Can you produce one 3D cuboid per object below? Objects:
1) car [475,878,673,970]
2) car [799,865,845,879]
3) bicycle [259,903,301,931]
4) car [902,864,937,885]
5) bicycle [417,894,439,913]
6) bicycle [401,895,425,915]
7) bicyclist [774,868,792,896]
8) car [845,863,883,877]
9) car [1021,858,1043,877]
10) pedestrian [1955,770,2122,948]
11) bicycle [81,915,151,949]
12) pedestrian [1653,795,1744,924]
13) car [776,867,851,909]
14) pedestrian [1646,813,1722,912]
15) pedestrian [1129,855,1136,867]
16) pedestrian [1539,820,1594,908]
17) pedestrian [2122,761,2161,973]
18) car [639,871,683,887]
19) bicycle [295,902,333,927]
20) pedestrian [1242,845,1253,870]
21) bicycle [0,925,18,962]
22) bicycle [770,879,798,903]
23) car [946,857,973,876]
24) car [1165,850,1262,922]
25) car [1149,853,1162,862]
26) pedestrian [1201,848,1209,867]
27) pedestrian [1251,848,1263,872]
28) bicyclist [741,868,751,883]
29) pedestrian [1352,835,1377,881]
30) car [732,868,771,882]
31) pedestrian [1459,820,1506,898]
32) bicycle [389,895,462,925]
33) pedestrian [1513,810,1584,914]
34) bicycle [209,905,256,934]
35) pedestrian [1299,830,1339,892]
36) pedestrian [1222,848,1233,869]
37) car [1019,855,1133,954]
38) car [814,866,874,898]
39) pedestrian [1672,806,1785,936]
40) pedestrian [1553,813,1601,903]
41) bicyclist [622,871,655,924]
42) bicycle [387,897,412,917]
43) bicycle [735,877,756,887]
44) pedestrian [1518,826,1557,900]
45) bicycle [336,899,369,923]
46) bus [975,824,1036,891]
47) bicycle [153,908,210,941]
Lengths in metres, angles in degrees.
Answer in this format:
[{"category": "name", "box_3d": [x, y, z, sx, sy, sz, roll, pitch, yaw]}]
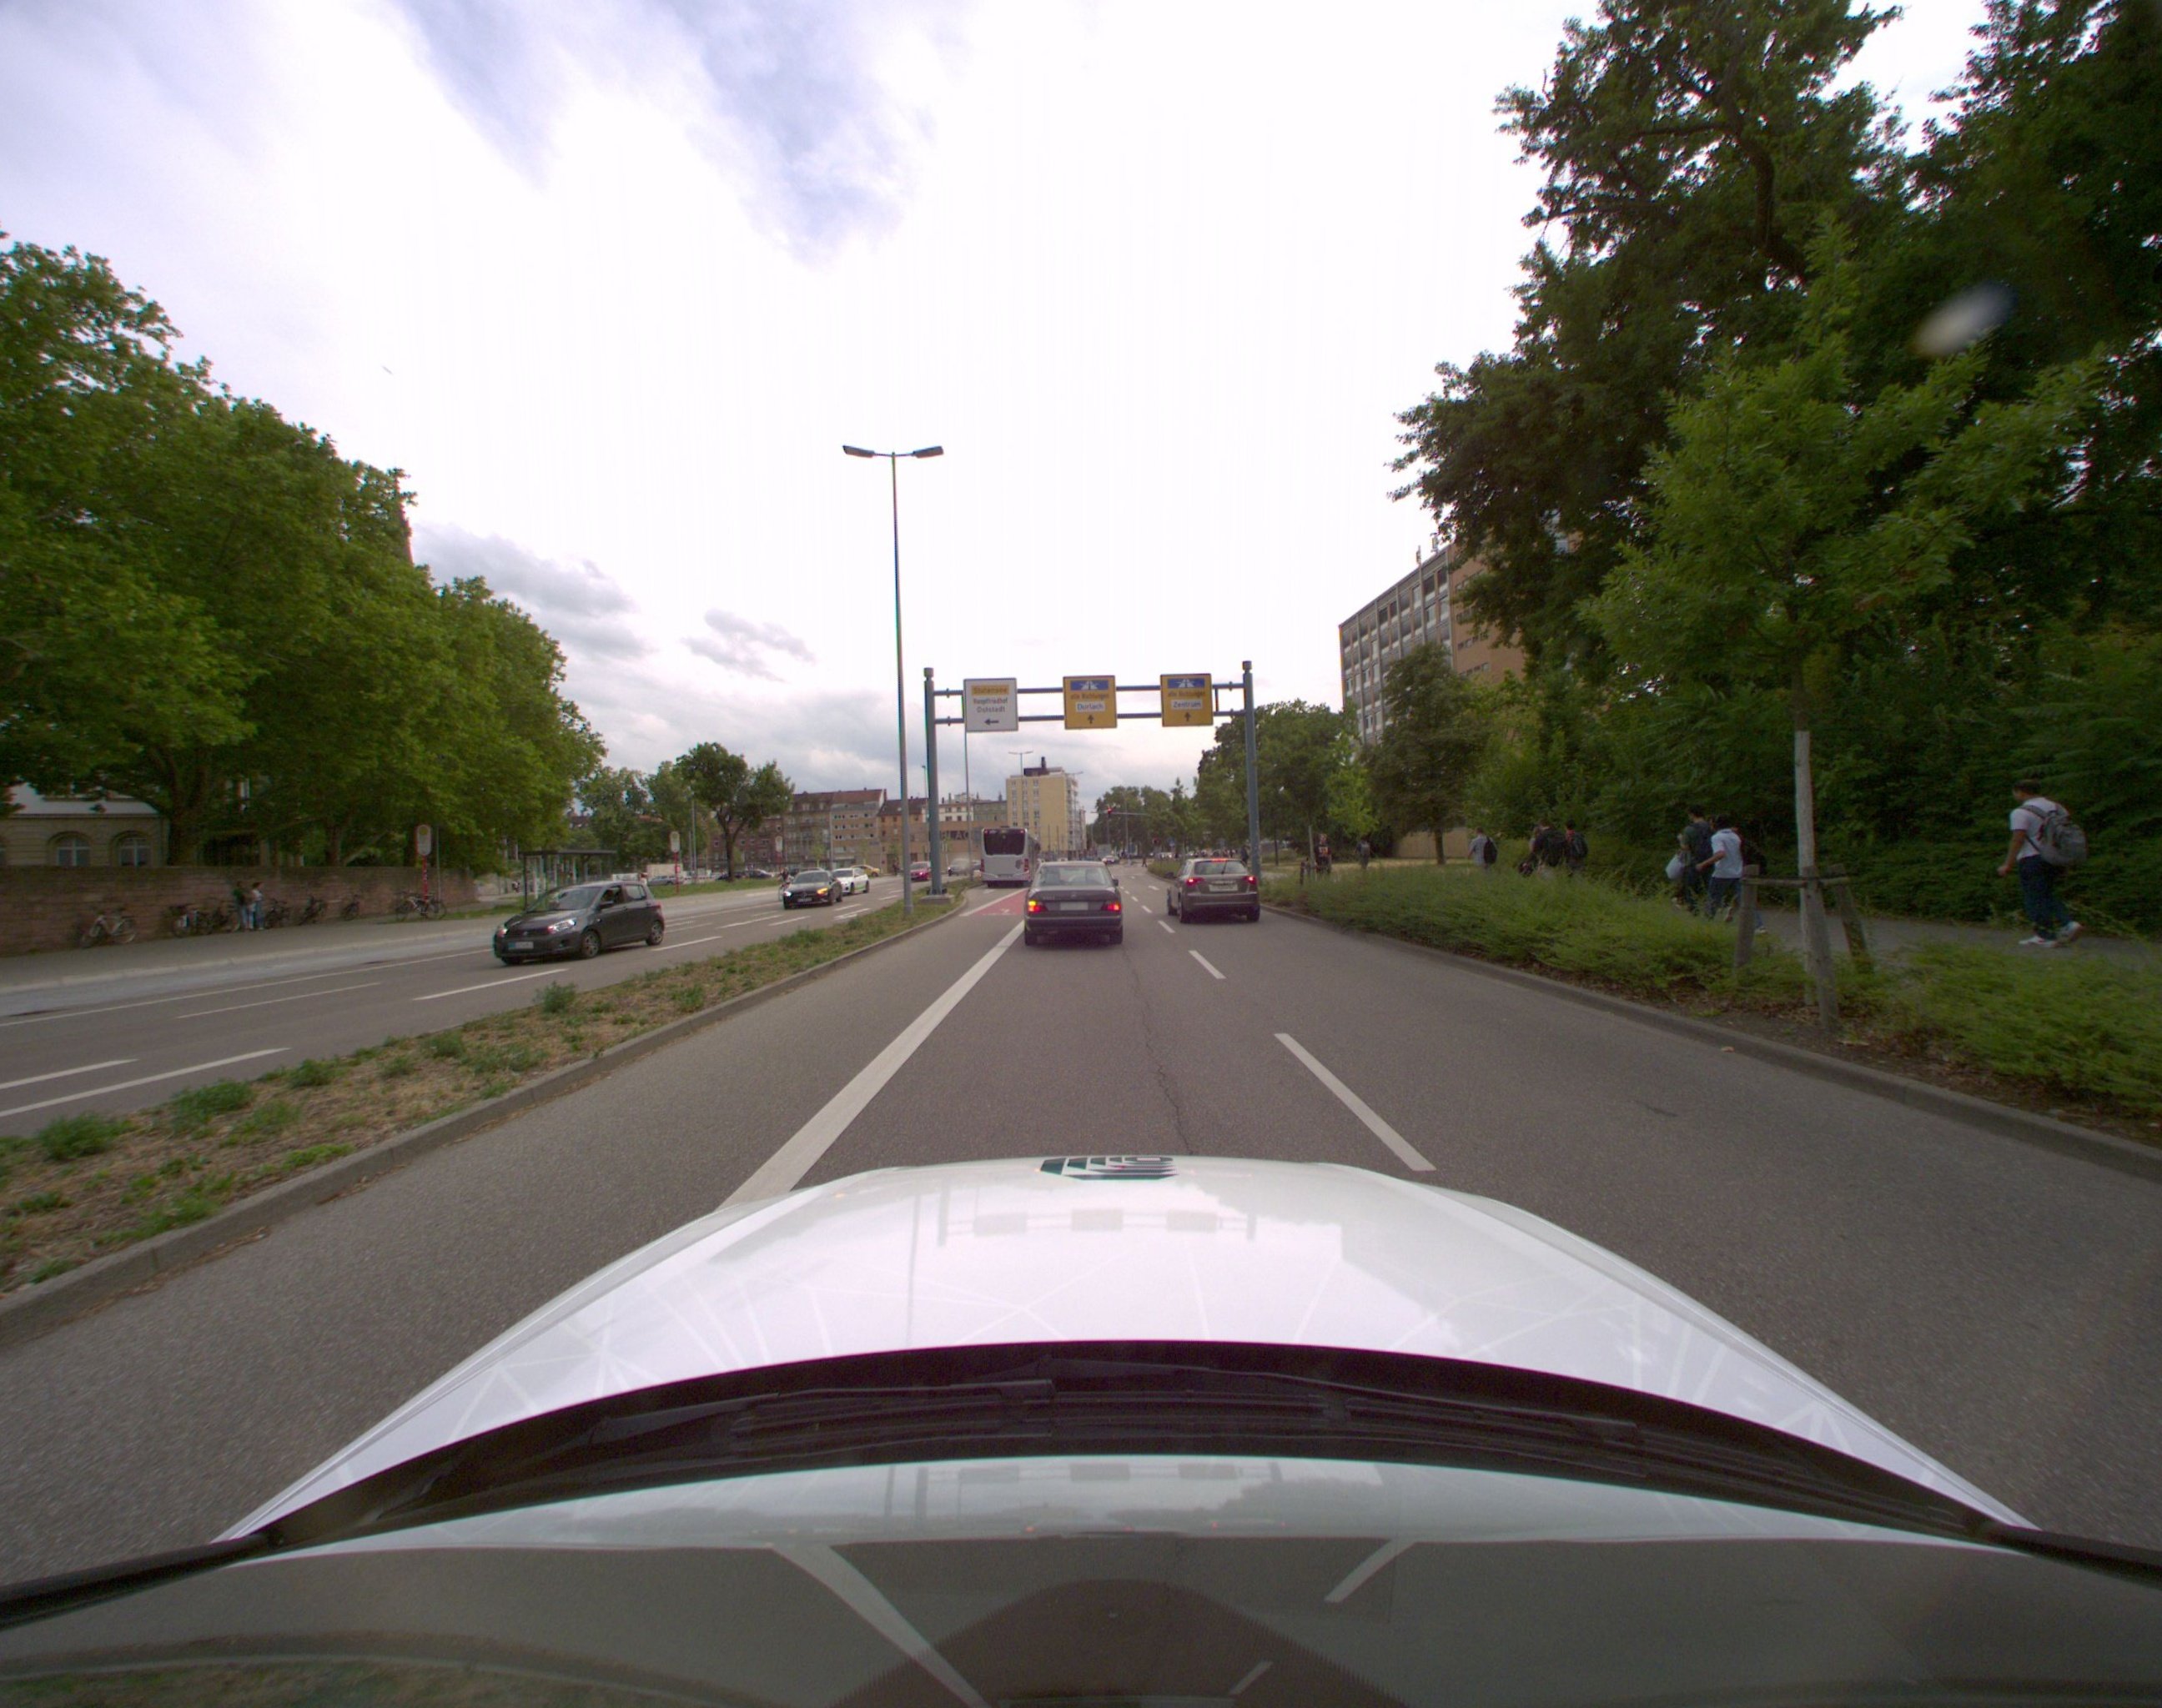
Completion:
[{"category": "car", "box_3d": [-10.116, 1.324, 16.601, 1.566, 1.489, 3.638, -3, 0, 2]}, {"category": "car", "box_3d": [-29.113, 2.052, 91.578, 4.661, 1.475, 1.657, -1, 0, -5]}, {"category": "bicycle", "box_3d": [-28.739, 2.250, 29.235, 0.442, 0.878, 1.609, 0, -1, -21]}, {"category": "car", "box_3d": [-12.520, 1.576, 63.390, 1.796, 1.489, 4.288, -2, 0, 0]}, {"category": "bicycle", "box_3d": [-34.200, 2.592, 42.653, 0.483, 0.907, 1.608, 0, -1, -24]}, {"category": "bicycle", "box_3d": [-33.459, 2.560, 40.803, 0.483, 0.907, 1.608, 0, -1, -24]}, {"category": "bicyclist", "box_3d": [-15.440, 1.429, 42.216, 0.577, 1.419, 0.812, -2, 0, 3]}, {"category": "car", "box_3d": [-24.507, 1.827, 92.050, 3.850, 1.517, 1.657, -1, 0, -5]}, {"category": "car", "box_3d": [-3.938, 1.074, 65.467, 1.651, 1.396, 3.856, -2, 0, -2]}, {"category": "pedestrian", "box_3d": [9.987, 0.046, 8.531, 0.719, 1.744, 0.812, -3, 0, 0]}, {"category": "bicycle", "box_3d": [-26.718, 2.141, 22.576, 0.442, 0.827, 1.611, 0, -1, -17]}, {"category": "pedestrian", "box_3d": [9.130, 0.084, 12.077, 0.654, 1.821, 0.812, -3, 0, 0]}, {"category": "car", "box_3d": [-10.772, 1.319, 33.120, 1.798, 1.489, 4.399, -2, 0, -4]}, {"category": "pedestrian", "box_3d": [10.097, 0.132, 13.668, 0.633, 1.584, 0.785, -3, 0, 0]}, {"category": "pedestrian", "box_3d": [6.851, 0.946, 108.256, 0.559, 1.592, 0.625, -1, -2, -39]}, {"category": "pedestrian", "box_3d": [9.443, 0.191, 15.858, 0.554, 1.655, 0.753, -3, 0, 0]}, {"category": "pedestrian", "box_3d": [8.948, 0.090, 6.296, 0.655, 1.689, 0.841, -3, 0, -2]}, {"category": "car", "box_3d": [-49.140, 2.934, 95.305, 4.149, 1.649, 1.643, -3, 0, -6]}, {"category": "bicycle", "box_3d": [-29.476, 2.319, 31.318, 0.442, 0.878, 1.609, 0, -1, -21]}, {"category": "pedestrian", "box_3d": [11.685, 0.252, 57.063, 0.641, 1.713, 0.564, -3, 0, 15]}, {"category": "bicycle", "box_3d": [-25.659, 2.123, 18.836, 0.442, 0.827, 1.611, 0, -1, -17]}, {"category": "bicycle", "box_3d": [-15.413, 1.906, 42.250, 0.579, 1.170, 1.966, -2, 0, 4]}, {"category": "car", "box_3d": [-11.554, 1.163, 77.500, 1.796, 1.665, 4.299, -4, 0, 0]}, {"category": "car", "box_3d": [2.998, 0.681, 19.145, 1.718, 1.457, 3.737, -2, 0, 2]}, {"category": "car", "box_3d": [15.291, 0.637, 166.769, 1.980, 1.703, 4.014, -2, 0, 13]}, {"category": "pedestrian", "box_3d": [12.979, 0.349, 85.378, 0.612, 2.013, 0.597, -2, 0, -1]}, {"category": "pedestrian", "box_3d": [11.232, 0.364, 51.918, 0.652, 1.470, 0.564, -3, 0, 17]}, {"category": "bicyclist", "box_3d": [-36.403, 2.345, 88.451, 0.785, 1.643, 0.571, -3, 0, -5]}, {"category": "pedestrian", "box_3d": [10.648, 0.153, 30.616, 0.585, 1.683, 0.748, -3, 0, 0]}, {"category": "car", "box_3d": [-36.693, 2.354, 90.784, 3.760, 1.394, 1.580, -1, 0, -8]}, {"category": "pedestrian", "box_3d": [9.200, 0.117, 18.684, 0.617, 1.735, 0.814, -3, 0, 0]}, {"category": "bicycle", "box_3d": [-23.751, 2.025, 29.575, 0.467, 0.918, 2.344, -2, 0, 8]}, {"category": "pedestrian", "box_3d": [8.570, 0.147, 14.967, 0.690, 1.821, 0.954, -3, 0, 0]}, {"category": "bicycle", "box_3d": [-27.991, 2.154, 26.886, 0.347, 0.878, 1.513, 0, -1, -17]}, {"category": "pedestrian", "box_3d": [7.235, 0.207, 24.757, 0.925, 1.830, 0.892, -3, 0, 27]}, {"category": "pedestrian", "box_3d": [12.066, 0.373, 66.978, 0.796, 1.713, 0.767, -3, 0, 13]}, {"category": "car", "box_3d": [-0.169, 0.802, 15.041, 1.757, 1.489, 4.167, -2, 0, -3]}, {"category": "car", "box_3d": [-12.627, 1.469, 43.678, 1.795, 1.489, 4.416, -2, 0, 1]}, {"category": "pedestrian", "box_3d": [8.461, 0.218, 10.673, 0.773, 1.602, 0.812, -3, 0, 0]}, {"category": "pedestrian", "box_3d": [10.024, 0.077, 16.469, 0.482, 1.763, 0.664, -3, 0, 0]}, {"category": "bicyclist", "box_3d": [-15.677, 1.526, 28.842, 0.615, 1.782, 0.812, -2, 0, 5]}, {"category": "bicycle", "box_3d": [-32.484, 2.522, 38.853, 0.483, 0.907, 1.608, 0, -1, -24]}, {"category": "bicycle", "box_3d": [-36.418, 3.049, 88.427, 1.961, 0.982, 0.630, -3, 0, -5]}, {"category": "pedestrian", "box_3d": [10.431, 0.199, 18.631, 0.466, 1.633, 0.653, -3, 0, 0]}, {"category": "bicycle", "box_3d": [-30.748, 2.393, 34.394, 0.483, 0.907, 1.608, -3, 0, -23]}, {"category": "bus", "box_3d": [-4.146, 0.177, 46.591, 2.824, 3.390, 8.177, -2, 0, -2]}, {"category": "bicycle", "box_3d": [-27.424, 2.135, 24.864, 0.417, 0.878, 1.546, 0, -1, -17]}]
